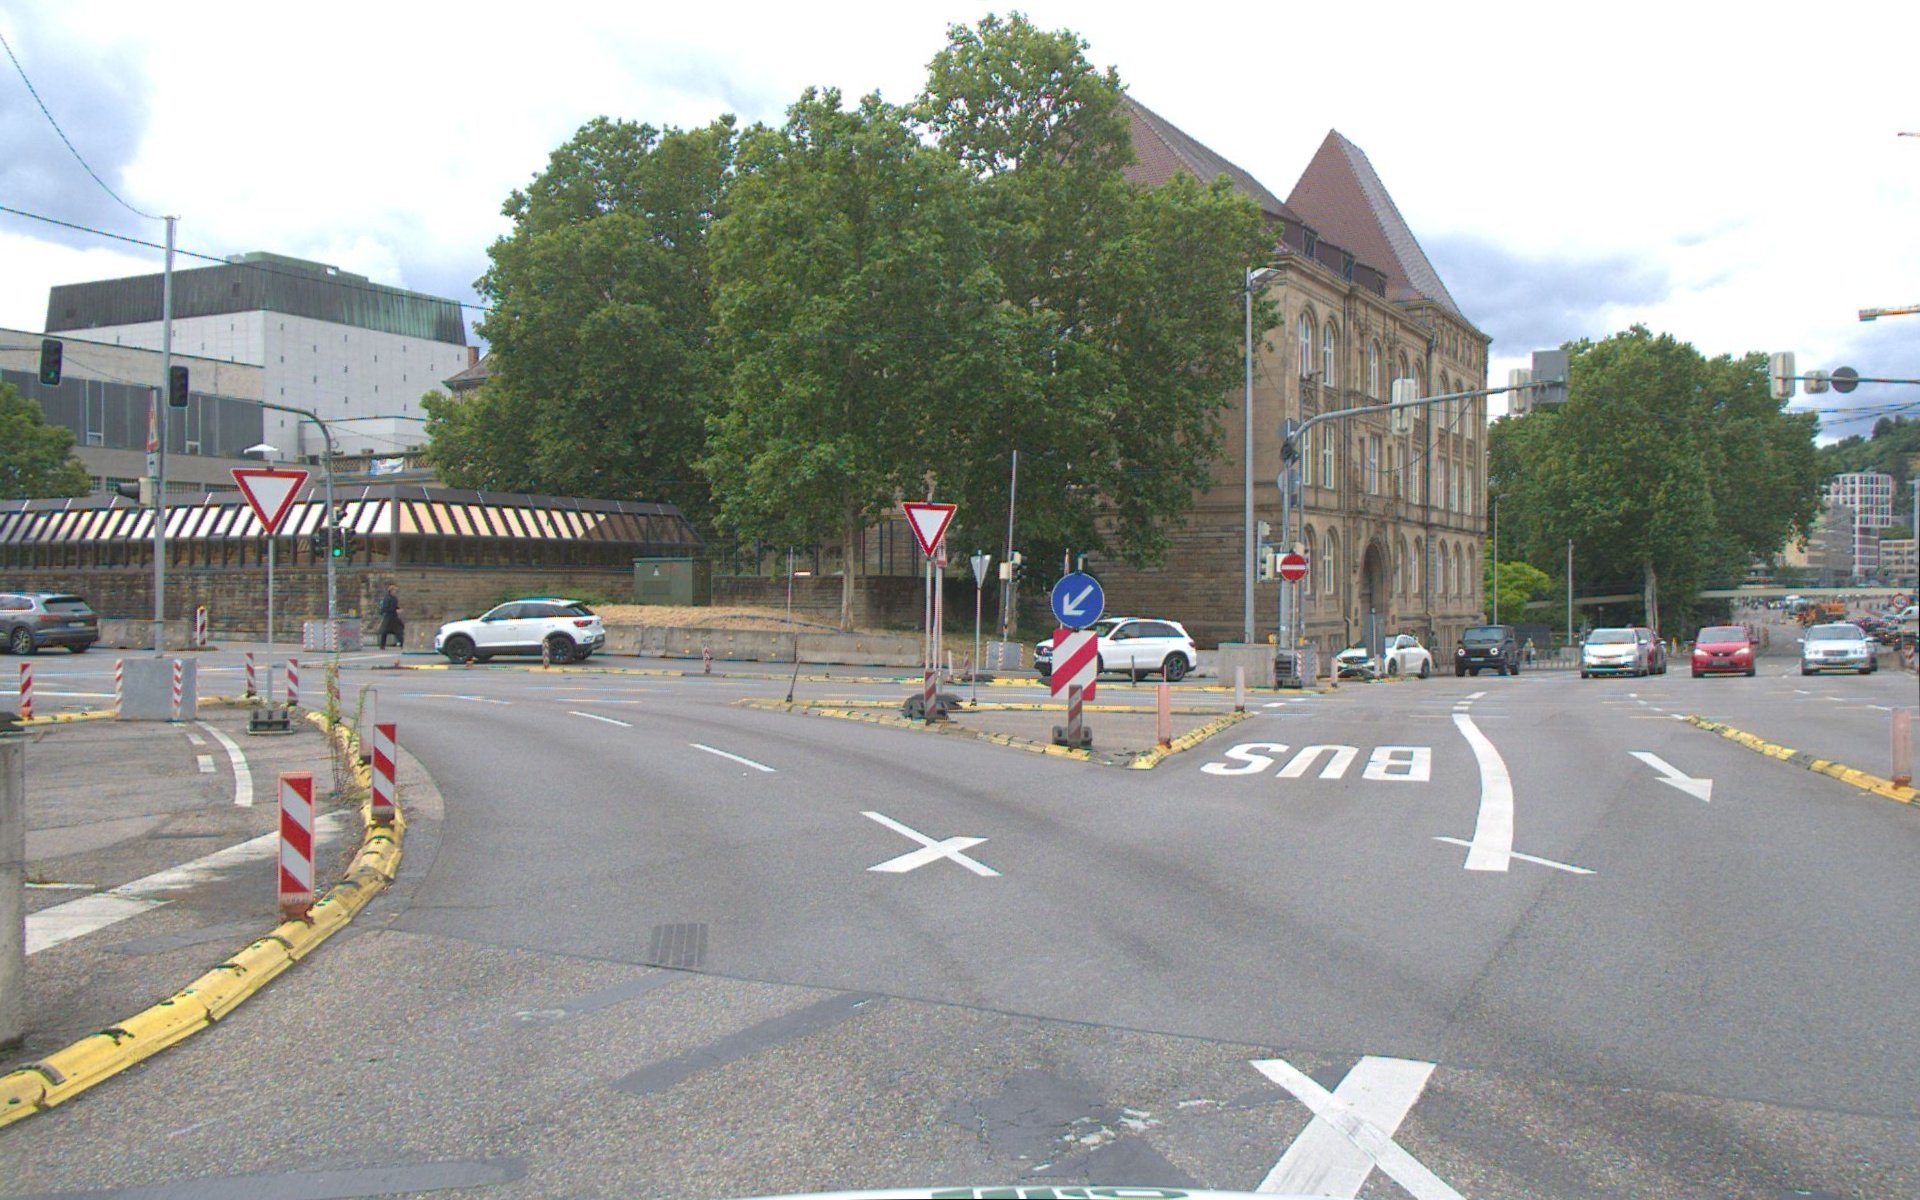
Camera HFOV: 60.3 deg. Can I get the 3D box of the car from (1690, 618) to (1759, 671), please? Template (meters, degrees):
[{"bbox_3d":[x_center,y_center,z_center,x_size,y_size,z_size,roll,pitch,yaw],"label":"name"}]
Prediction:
[{"bbox_3d":[22.197,1.282,47.983,1.653,1.460,3.442,-2,-1,27],"label":"car"}]

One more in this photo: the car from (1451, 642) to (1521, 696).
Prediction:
[{"bbox_3d":[20.731,2.731,65.076,1.896,1.972,3.666,-3,-5,29],"label":"car"}]

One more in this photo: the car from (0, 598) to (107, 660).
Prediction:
[{"bbox_3d":[-26.059,0.765,46.029,4.376,1.595,1.828,1,1,25],"label":"car"}]

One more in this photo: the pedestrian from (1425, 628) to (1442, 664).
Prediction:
[{"bbox_3d":[21.918,2.115,76.498,0.646,1.664,0.850,0,-1,23],"label":"pedestrian"}]

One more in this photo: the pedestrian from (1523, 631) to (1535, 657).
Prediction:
[{"bbox_3d":[36.627,2.843,106.483,0.646,1.664,0.850,0,-1,23],"label":"pedestrian"}]

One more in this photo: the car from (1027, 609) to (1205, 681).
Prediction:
[{"bbox_3d":[4.137,1.199,43.697,4.493,1.671,1.798,4,-2,-32],"label":"car"}]

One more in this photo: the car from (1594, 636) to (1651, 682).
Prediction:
[{"bbox_3d":[22.921,2.011,57.155,1.627,1.460,3.444,1,0,25],"label":"car"}]

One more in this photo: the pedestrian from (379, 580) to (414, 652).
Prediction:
[{"bbox_3d":[-16.246,0.471,47.687,0.831,2.049,0.622,0,-1,-5],"label":"pedestrian"}]

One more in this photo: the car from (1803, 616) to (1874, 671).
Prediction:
[{"bbox_3d":[24.821,1.216,46.801,1.656,1.461,3.442,-2,-2,27],"label":"car"}]

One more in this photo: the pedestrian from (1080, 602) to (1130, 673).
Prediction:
[{"bbox_3d":[4.240,1.081,48.385,1.170,2.049,1.200,0,-1,-12],"label":"pedestrian"}]

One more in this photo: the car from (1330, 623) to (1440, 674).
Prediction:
[{"bbox_3d":[13.543,1.507,52.588,1.708,1.460,4.358,1,0,40],"label":"car"}]

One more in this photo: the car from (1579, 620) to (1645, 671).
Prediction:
[{"bbox_3d":[19.945,1.401,50.535,1.627,1.461,3.444,-2,-3,25],"label":"car"}]

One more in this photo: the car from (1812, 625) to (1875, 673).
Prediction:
[{"bbox_3d":[28.162,1.555,52.787,1.656,1.461,3.442,-2,-2,27],"label":"car"}]

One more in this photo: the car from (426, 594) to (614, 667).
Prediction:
[{"bbox_3d":[-11.087,0.751,41.830,4.227,1.594,1.758,2,3,3],"label":"car"}]
